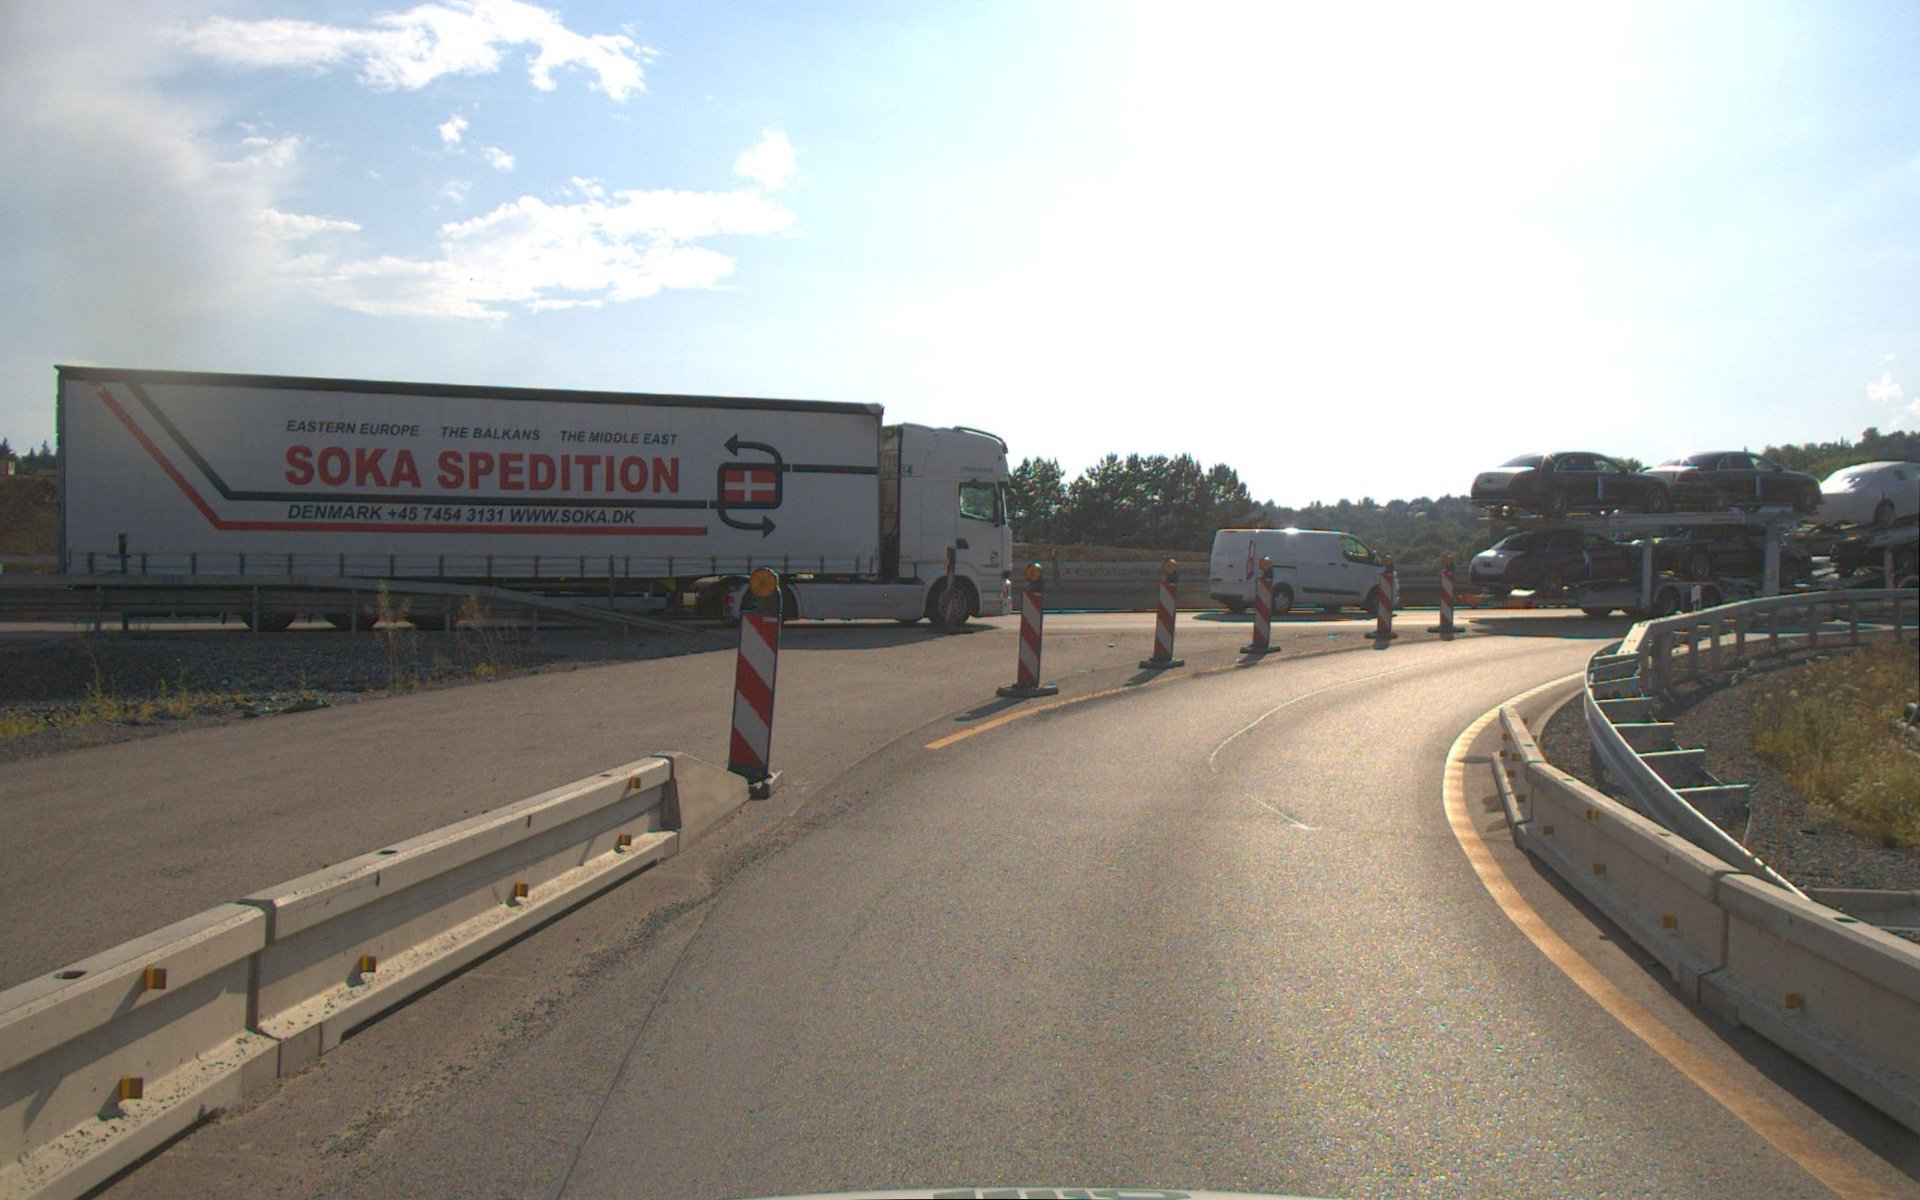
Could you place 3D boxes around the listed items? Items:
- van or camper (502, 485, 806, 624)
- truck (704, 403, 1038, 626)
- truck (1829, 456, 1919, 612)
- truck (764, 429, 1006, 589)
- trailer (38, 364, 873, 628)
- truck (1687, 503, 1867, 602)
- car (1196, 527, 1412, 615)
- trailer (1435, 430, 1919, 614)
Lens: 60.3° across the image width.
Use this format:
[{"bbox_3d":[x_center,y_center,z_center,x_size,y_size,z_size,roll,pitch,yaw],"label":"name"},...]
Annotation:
[{"bbox_3d":[-6.205,-0.875,33.691,5.808,2.665,1.985,0,1,-25],"label":"van or camper"},{"bbox_3d":[-1.703,-1.525,31.808,5.916,3.946,2.469,0,1,-25],"label":"truck"},{"bbox_3d":[27.406,-1.718,45.483,6.518,4.066,2.836,0,1,-25],"label":"truck"},{"bbox_3d":[-1.944,-2.227,42.659,5.595,3.792,2.983,0,-1,-24],"label":"truck"},{"bbox_3d":[-8.189,-1.527,28.676,13.414,3.946,2.469,0,1,-26],"label":"trailer"},{"bbox_3d":[27.462,-1.547,55.604,5.584,3.189,2.135,0,-1,-19],"label":"truck"},{"bbox_3d":[8.385,-0.719,40.313,4.898,2.015,2.021,0,3,-24],"label":"car"},{"bbox_3d":[18.928,-1.738,41.454,15.494,4.066,2.844,0,1,-25],"label":"trailer"}]
